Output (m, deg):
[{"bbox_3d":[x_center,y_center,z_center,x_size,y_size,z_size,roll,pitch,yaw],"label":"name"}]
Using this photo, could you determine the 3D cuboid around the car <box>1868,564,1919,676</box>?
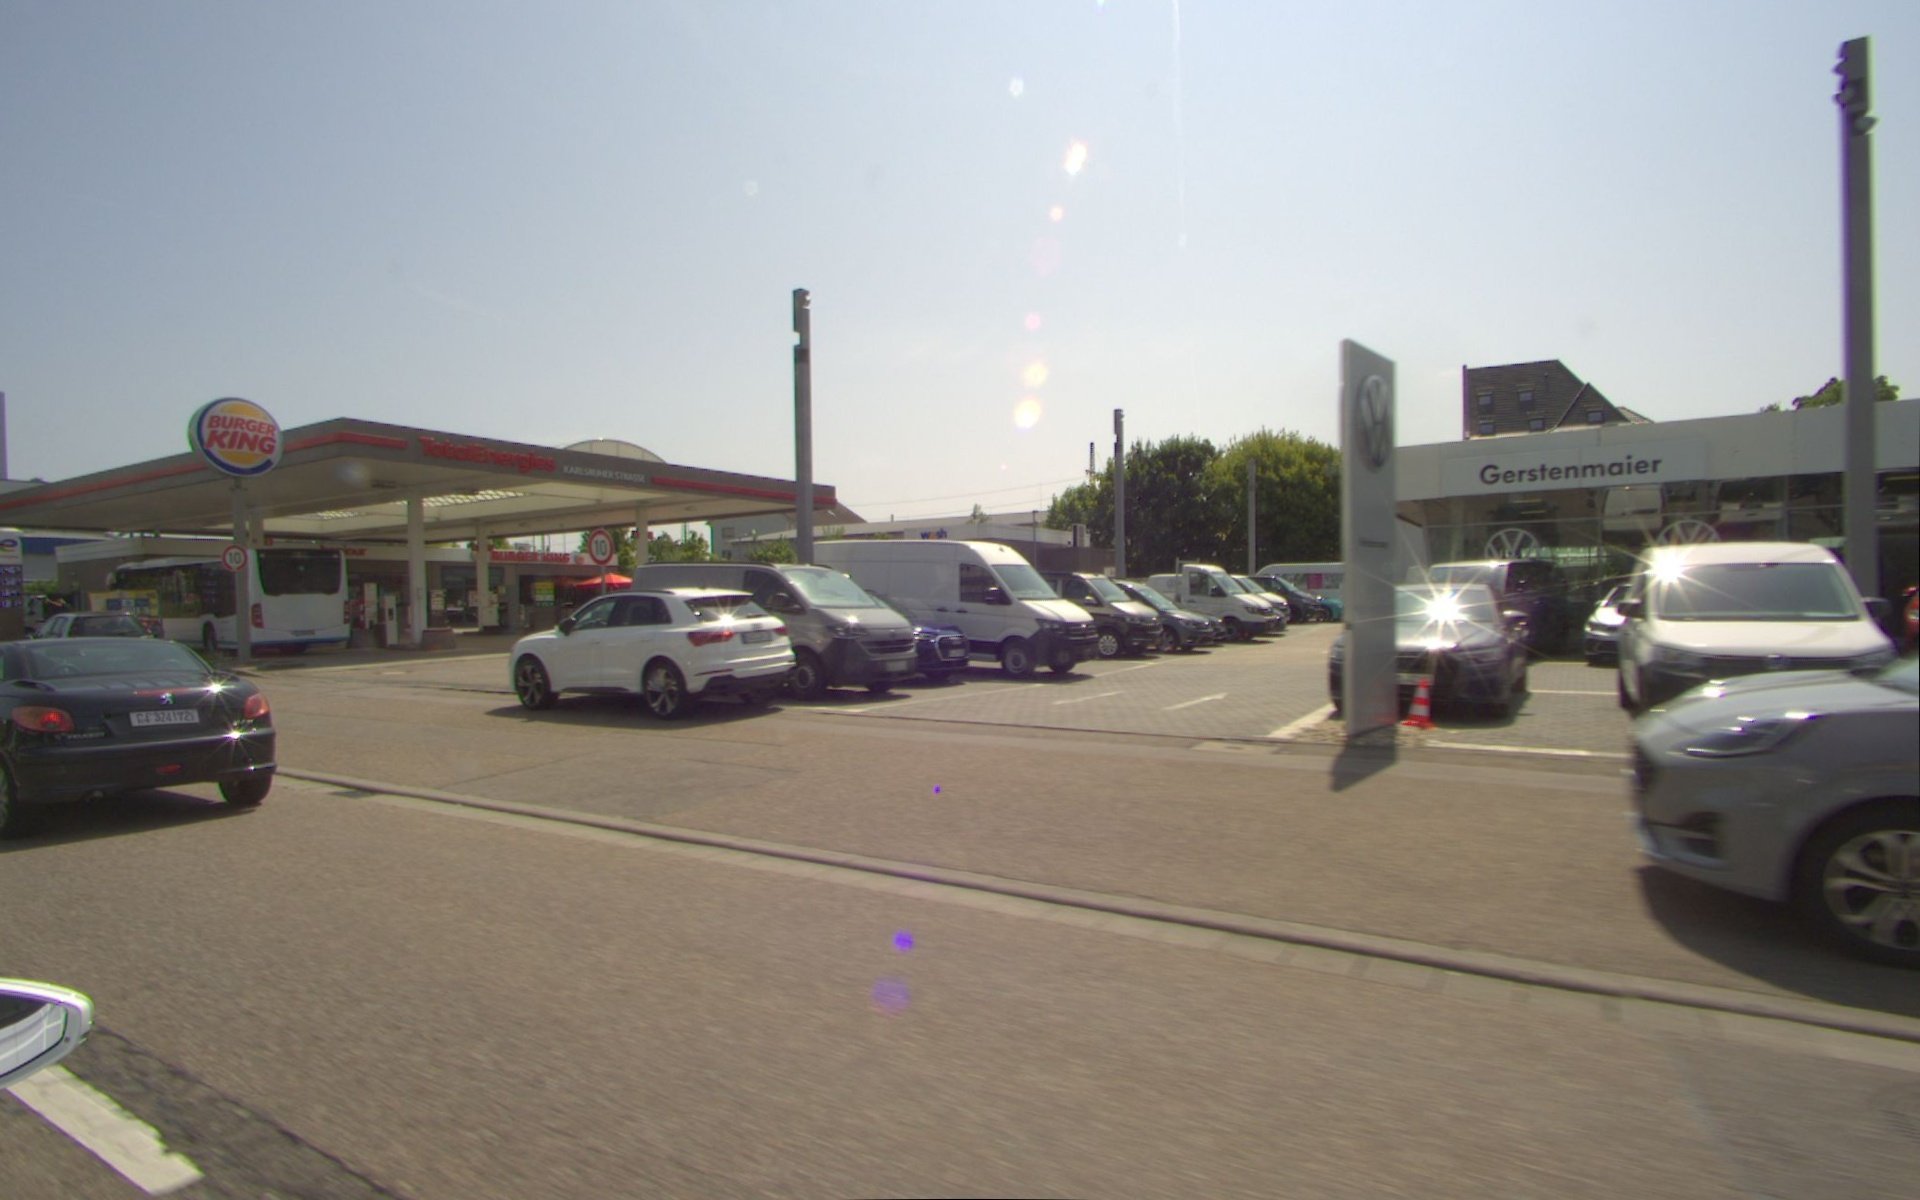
[{"bbox_3d":[15.511,0.259,15.333,1.834,1.592,3.976,-1,0,34],"label":"car"}]

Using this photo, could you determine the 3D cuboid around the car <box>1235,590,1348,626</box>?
[{"bbox_3d":[14.254,0.335,43.108,4.314,1.479,1.740,-1,1,32],"label":"car"}]

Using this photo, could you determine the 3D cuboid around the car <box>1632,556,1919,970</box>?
[{"bbox_3d":[5.241,0.614,3.939,4.114,1.573,1.731,-1,0,27],"label":"car"}]

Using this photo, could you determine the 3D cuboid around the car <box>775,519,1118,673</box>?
[{"bbox_3d":[-0.432,-0.044,20.497,6.917,2.711,2.251,-1,1,33],"label":"car"}]

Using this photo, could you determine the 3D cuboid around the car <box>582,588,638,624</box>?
[{"bbox_3d":[-18.920,0.347,54.272,1.961,1.765,4.002,-2,-2,-6],"label":"car"}]

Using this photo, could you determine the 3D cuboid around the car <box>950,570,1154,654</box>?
[{"bbox_3d":[2.254,0.235,24.872,4.725,1.891,1.731,2,2,27],"label":"car"}]

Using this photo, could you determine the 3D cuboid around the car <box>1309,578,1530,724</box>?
[{"bbox_3d":[5.888,0.493,12.484,1.971,1.465,4.523,0,1,32],"label":"car"}]

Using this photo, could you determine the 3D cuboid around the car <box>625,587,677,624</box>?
[{"bbox_3d":[-16.229,0.325,52.704,1.825,1.766,4.002,-2,-2,-6],"label":"car"}]

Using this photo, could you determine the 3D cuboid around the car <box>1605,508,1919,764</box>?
[{"bbox_3d":[7.546,0.274,9.806,1.881,1.907,4.404,-2,0,31],"label":"car"}]

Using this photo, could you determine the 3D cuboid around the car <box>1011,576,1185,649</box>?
[{"bbox_3d":[3.667,0.355,26.834,4.314,1.809,1.741,-1,-1,32],"label":"car"}]

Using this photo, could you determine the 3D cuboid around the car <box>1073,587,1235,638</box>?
[{"bbox_3d":[5.593,0.392,29.023,4.314,1.374,1.741,-1,-2,32],"label":"car"}]

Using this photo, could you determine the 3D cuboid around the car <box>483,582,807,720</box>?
[{"bbox_3d":[-4.382,0.607,13.699,4.546,1.617,1.663,0,1,32],"label":"car"}]

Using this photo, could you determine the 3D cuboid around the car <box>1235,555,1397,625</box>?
[{"bbox_3d":[15.997,-0.373,45.187,6.566,2.728,1.990,-3,-2,33],"label":"car"}]

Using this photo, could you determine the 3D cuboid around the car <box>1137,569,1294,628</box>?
[{"bbox_3d":[9.230,-0.006,36.401,5.282,2.020,1.740,-1,-1,32],"label":"car"}]

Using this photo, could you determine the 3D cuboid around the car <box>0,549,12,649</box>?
[{"bbox_3d":[-31.115,0.066,29.986,7.204,2.879,2.127,-1,3,32],"label":"car"}]

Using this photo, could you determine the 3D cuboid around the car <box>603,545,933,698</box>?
[{"bbox_3d":[-3.078,0.358,15.644,5.086,2.049,1.990,-1,-2,32],"label":"car"}]

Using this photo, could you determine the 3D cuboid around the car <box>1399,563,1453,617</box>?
[{"bbox_3d":[23.536,-0.438,50.521,1.872,2.503,3.979,-3,-2,33],"label":"car"}]

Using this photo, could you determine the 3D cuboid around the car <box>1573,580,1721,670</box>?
[{"bbox_3d":[12.169,0.376,17.660,3.402,1.432,1.566,-1,1,-45],"label":"car"}]

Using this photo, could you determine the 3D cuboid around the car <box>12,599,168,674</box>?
[{"bbox_3d":[-19.888,0.797,22.865,3.765,1.540,1.653,-1,1,32],"label":"car"}]

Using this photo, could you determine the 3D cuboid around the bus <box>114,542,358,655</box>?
[{"bbox_3d":[-23.637,-0.058,32.284,12.120,3.120,2.796,0,0,36],"label":"bus"}]

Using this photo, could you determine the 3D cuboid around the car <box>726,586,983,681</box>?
[{"bbox_3d":[-1.961,0.589,18.064,4.534,1.533,1.741,-1,-2,32],"label":"car"}]

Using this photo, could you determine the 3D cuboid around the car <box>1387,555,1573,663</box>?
[{"bbox_3d":[10.097,0.132,19.281,4.335,1.848,1.982,-1,1,-45],"label":"car"}]

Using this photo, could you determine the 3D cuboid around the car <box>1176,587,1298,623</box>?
[{"bbox_3d":[10.780,0.222,39.073,4.314,1.344,1.741,-1,-2,32],"label":"car"}]

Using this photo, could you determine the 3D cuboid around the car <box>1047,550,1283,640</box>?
[{"bbox_3d":[6.373,-0.123,31.661,6.972,2.590,2.251,-1,1,33],"label":"car"}]

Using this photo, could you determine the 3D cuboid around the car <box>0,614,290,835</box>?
[{"bbox_3d":[-7.255,0.851,8.212,3.608,1.443,1.597,-1,-1,32],"label":"car"}]
